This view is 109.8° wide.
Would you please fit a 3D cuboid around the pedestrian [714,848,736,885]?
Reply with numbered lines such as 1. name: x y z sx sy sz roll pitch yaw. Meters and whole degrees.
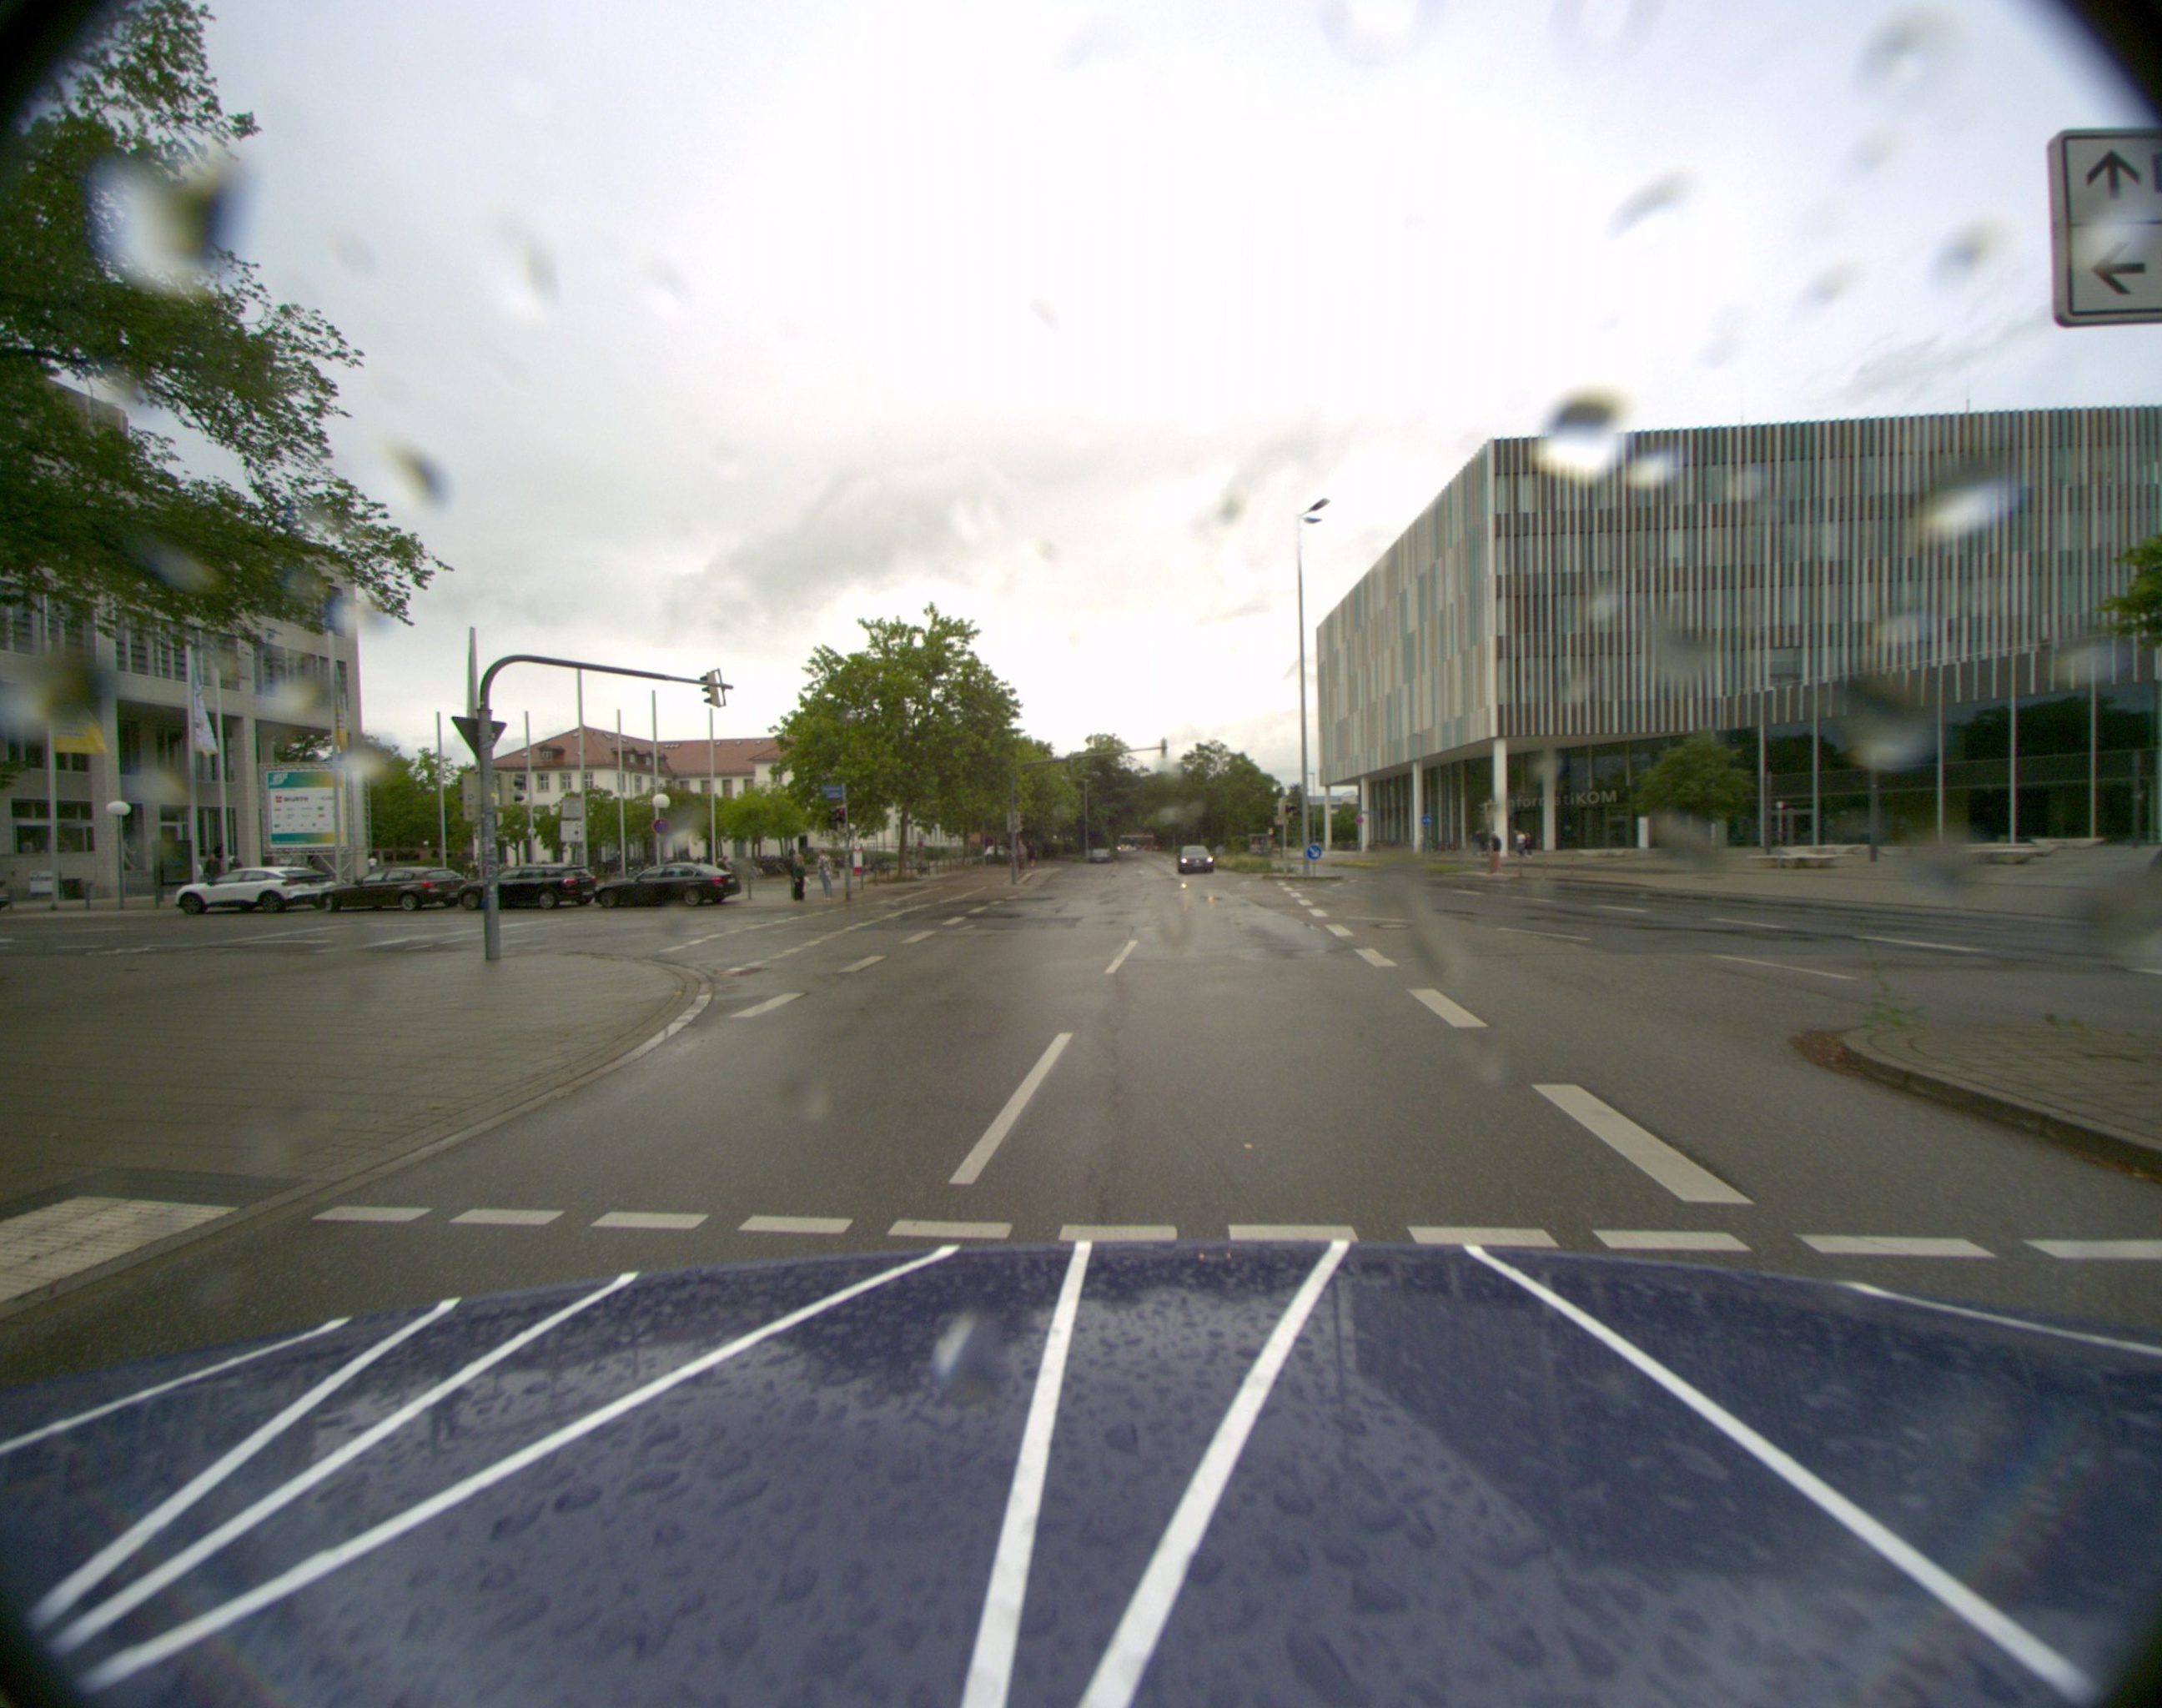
1. pedestrian: -16.988 0.593 36.252 0.850 1.728 1.121 -2 2 -27

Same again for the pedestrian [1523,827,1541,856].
1. pedestrian: 28.483 -0.779 47.982 0.787 1.814 0.624 -2 1 -18

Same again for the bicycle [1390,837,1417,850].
1. bicycle: 30.105 -0.975 70.920 2.282 1.215 0.599 -1 1 15

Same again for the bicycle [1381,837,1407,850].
1. bicycle: 30.479 -1.040 73.936 2.282 1.215 0.599 -1 1 15

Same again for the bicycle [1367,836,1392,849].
1. bicycle: 29.885 -1.125 76.135 2.282 1.215 0.599 -1 1 15

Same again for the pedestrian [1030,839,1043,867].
1. pedestrian: -2.944 -0.086 50.260 0.625 1.814 0.785 -2 1 -17

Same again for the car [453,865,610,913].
1. car: -18.543 1.158 25.732 4.012 1.371 1.773 -1 4 4

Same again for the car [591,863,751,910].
1. car: -13.772 1.071 25.688 4.386 1.330 1.772 -2 4 2

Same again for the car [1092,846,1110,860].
1. car: 1.990 -0.121 74.851 1.660 1.259 4.107 -1 1 4

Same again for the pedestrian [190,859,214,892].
1. pedestrian: -41.038 0.999 35.467 0.565 1.507 0.544 -1 1 25

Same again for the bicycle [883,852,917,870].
1. bicycle: -12.883 0.520 54.220 2.286 1.215 0.598 -2 1 -7

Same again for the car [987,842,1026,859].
1. car: -8.762 -0.426 89.410 4.424 1.862 1.637 -1 1 -2

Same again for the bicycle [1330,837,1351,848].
1. bicycle: 30.360 -1.316 88.926 2.282 1.215 0.599 -1 1 15

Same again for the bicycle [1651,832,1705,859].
1. bicycle: 28.465 -0.421 36.220 2.286 1.215 0.598 -2 1 -7

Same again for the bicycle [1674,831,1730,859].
1. bicycle: 28.788 -0.414 35.205 2.286 1.215 0.598 -2 1 -7

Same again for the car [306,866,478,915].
1. car: -23.524 1.223 26.038 4.233 1.391 1.772 -2 4 2

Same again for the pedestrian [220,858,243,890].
1. pedestrian: -40.777 0.979 36.466 0.565 1.507 0.544 -1 1 25

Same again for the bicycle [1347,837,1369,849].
1. bicycle: 30.768 -1.227 84.344 2.282 1.215 0.599 -1 1 15

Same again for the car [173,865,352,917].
1. car: -28.150 1.243 26.231 4.097 1.510 1.772 -2 4 0

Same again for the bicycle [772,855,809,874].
1. bicycle: -19.834 0.716 51.879 2.286 1.215 0.598 -2 1 -7

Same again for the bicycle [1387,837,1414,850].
1. bicycle: 30.229 -0.989 72.001 2.282 1.215 0.599 -1 1 15

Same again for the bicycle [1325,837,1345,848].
1. bicycle: 31.384 -1.408 93.727 2.282 1.215 0.599 -1 1 15

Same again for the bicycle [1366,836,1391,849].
1. bicycle: 30.089 -1.141 76.947 2.282 1.215 0.599 -1 1 15

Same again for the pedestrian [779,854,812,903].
1. pedestrian: -9.707 0.818 25.859 0.877 1.598 0.862 -2 1 -14

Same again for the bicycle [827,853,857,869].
1. bicycle: -19.700 0.561 62.627 2.286 1.215 0.598 -2 1 -7

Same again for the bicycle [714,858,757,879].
1. bicycle: -21.209 0.912 46.676 2.286 1.215 0.598 -2 1 -7

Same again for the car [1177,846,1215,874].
1. car: 6.233 0.296 41.489 1.660 1.357 4.107 -1 1 4

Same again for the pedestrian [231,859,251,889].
1. pedestrian: -42.533 0.996 38.476 0.565 1.507 0.470 -1 1 25

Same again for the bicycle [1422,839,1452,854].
1. bicycle: 29.775 -0.607 63.570 2.286 1.215 0.598 -2 1 -7

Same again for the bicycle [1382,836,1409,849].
1. bicycle: 30.236 -1.089 73.037 2.282 1.215 0.599 -1 1 15

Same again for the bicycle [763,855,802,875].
1. bicycle: -20.012 0.733 50.969 2.286 1.215 0.598 -2 1 -7

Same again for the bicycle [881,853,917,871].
1. bicycle: -12.610 0.535 52.706 2.286 1.215 0.598 -2 1 -7

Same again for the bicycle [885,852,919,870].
1. bicycle: -12.939 0.511 54.959 2.286 1.215 0.598 -2 1 -7

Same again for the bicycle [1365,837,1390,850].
1. bicycle: 30.317 -1.090 77.790 2.282 1.215 0.599 -1 1 15

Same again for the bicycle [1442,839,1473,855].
1. bicycle: 30.455 -0.593 61.483 2.286 1.215 0.598 -2 1 -7

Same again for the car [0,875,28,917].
1. car: -40.060 1.570 26.544 4.096 1.395 1.772 -1 4 3

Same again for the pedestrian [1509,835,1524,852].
1. pedestrian: 29.605 -0.698 51.688 0.624 1.146 0.787 -1 1 8

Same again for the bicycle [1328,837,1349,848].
1. bicycle: 30.473 -1.334 90.032 2.282 1.215 0.599 -1 1 15

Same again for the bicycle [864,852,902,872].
1. bicycle: -13.047 0.530 50.144 2.286 1.215 0.598 -2 1 -7

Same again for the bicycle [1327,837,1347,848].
1. bicycle: 30.800 -1.361 91.400 2.282 1.215 0.599 -1 1 15

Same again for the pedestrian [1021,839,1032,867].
1. pedestrian: -3.611 -0.069 50.066 0.625 1.814 0.786 -2 1 -9

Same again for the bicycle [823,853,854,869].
1. bicycle: -19.689 0.575 61.616 2.286 1.215 0.598 -2 1 -7

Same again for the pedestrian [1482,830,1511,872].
1. pedestrian: 18.425 -0.127 33.710 0.787 1.814 0.795 -2 1 -18

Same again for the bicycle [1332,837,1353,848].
1. bicycle: 30.326 -1.303 88.041 2.282 1.215 0.599 -1 1 15

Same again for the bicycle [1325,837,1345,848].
1. bicycle: 31.127 -1.391 92.993 2.282 1.215 0.599 -1 1 15

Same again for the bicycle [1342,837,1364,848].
1. bicycle: 30.916 -1.293 86.351 2.282 1.215 0.599 -1 1 15

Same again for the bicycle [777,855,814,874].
1. bicycle: -19.815 0.704 52.686 2.286 1.215 0.598 -2 1 -7

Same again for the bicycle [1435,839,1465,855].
1. bicycle: 30.178 -0.596 62.123 2.286 1.215 0.598 -2 1 -7

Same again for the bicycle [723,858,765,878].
1. bicycle: -21.010 0.874 47.419 2.286 1.215 0.598 -2 1 -7

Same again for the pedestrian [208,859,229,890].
1. pedestrian: -41.933 0.999 36.933 0.565 1.507 0.470 -1 1 25

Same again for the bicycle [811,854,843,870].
1. bicycle: -20.005 0.606 59.946 2.286 1.215 0.598 -2 1 -7

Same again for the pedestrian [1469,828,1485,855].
1. pedestrian: 27.385 -0.883 52.516 0.921 1.814 0.941 -1 1 24

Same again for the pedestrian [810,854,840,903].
1. pedestrian: -8.680 0.801 25.792 0.878 1.598 0.862 -2 1 -17

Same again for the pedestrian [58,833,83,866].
1. pedestrian: -46.152 -0.206 34.713 0.541 1.507 0.568 0 2 44

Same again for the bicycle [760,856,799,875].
1. bicycle: -19.820 0.742 49.957 2.286 1.215 0.598 -2 1 -7

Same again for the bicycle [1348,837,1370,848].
1. bicycle: 31.097 -1.266 84.961 2.282 1.215 0.599 -1 1 15

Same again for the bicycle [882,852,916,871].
1. bicycle: -12.776 0.529 53.407 2.286 1.215 0.598 -2 1 -7

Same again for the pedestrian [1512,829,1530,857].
1. pedestrian: 28.393 -0.695 49.076 0.787 1.814 0.624 -2 1 -18

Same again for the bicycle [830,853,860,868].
1. bicycle: -19.769 0.547 63.708 2.286 1.215 0.598 -2 1 -7
